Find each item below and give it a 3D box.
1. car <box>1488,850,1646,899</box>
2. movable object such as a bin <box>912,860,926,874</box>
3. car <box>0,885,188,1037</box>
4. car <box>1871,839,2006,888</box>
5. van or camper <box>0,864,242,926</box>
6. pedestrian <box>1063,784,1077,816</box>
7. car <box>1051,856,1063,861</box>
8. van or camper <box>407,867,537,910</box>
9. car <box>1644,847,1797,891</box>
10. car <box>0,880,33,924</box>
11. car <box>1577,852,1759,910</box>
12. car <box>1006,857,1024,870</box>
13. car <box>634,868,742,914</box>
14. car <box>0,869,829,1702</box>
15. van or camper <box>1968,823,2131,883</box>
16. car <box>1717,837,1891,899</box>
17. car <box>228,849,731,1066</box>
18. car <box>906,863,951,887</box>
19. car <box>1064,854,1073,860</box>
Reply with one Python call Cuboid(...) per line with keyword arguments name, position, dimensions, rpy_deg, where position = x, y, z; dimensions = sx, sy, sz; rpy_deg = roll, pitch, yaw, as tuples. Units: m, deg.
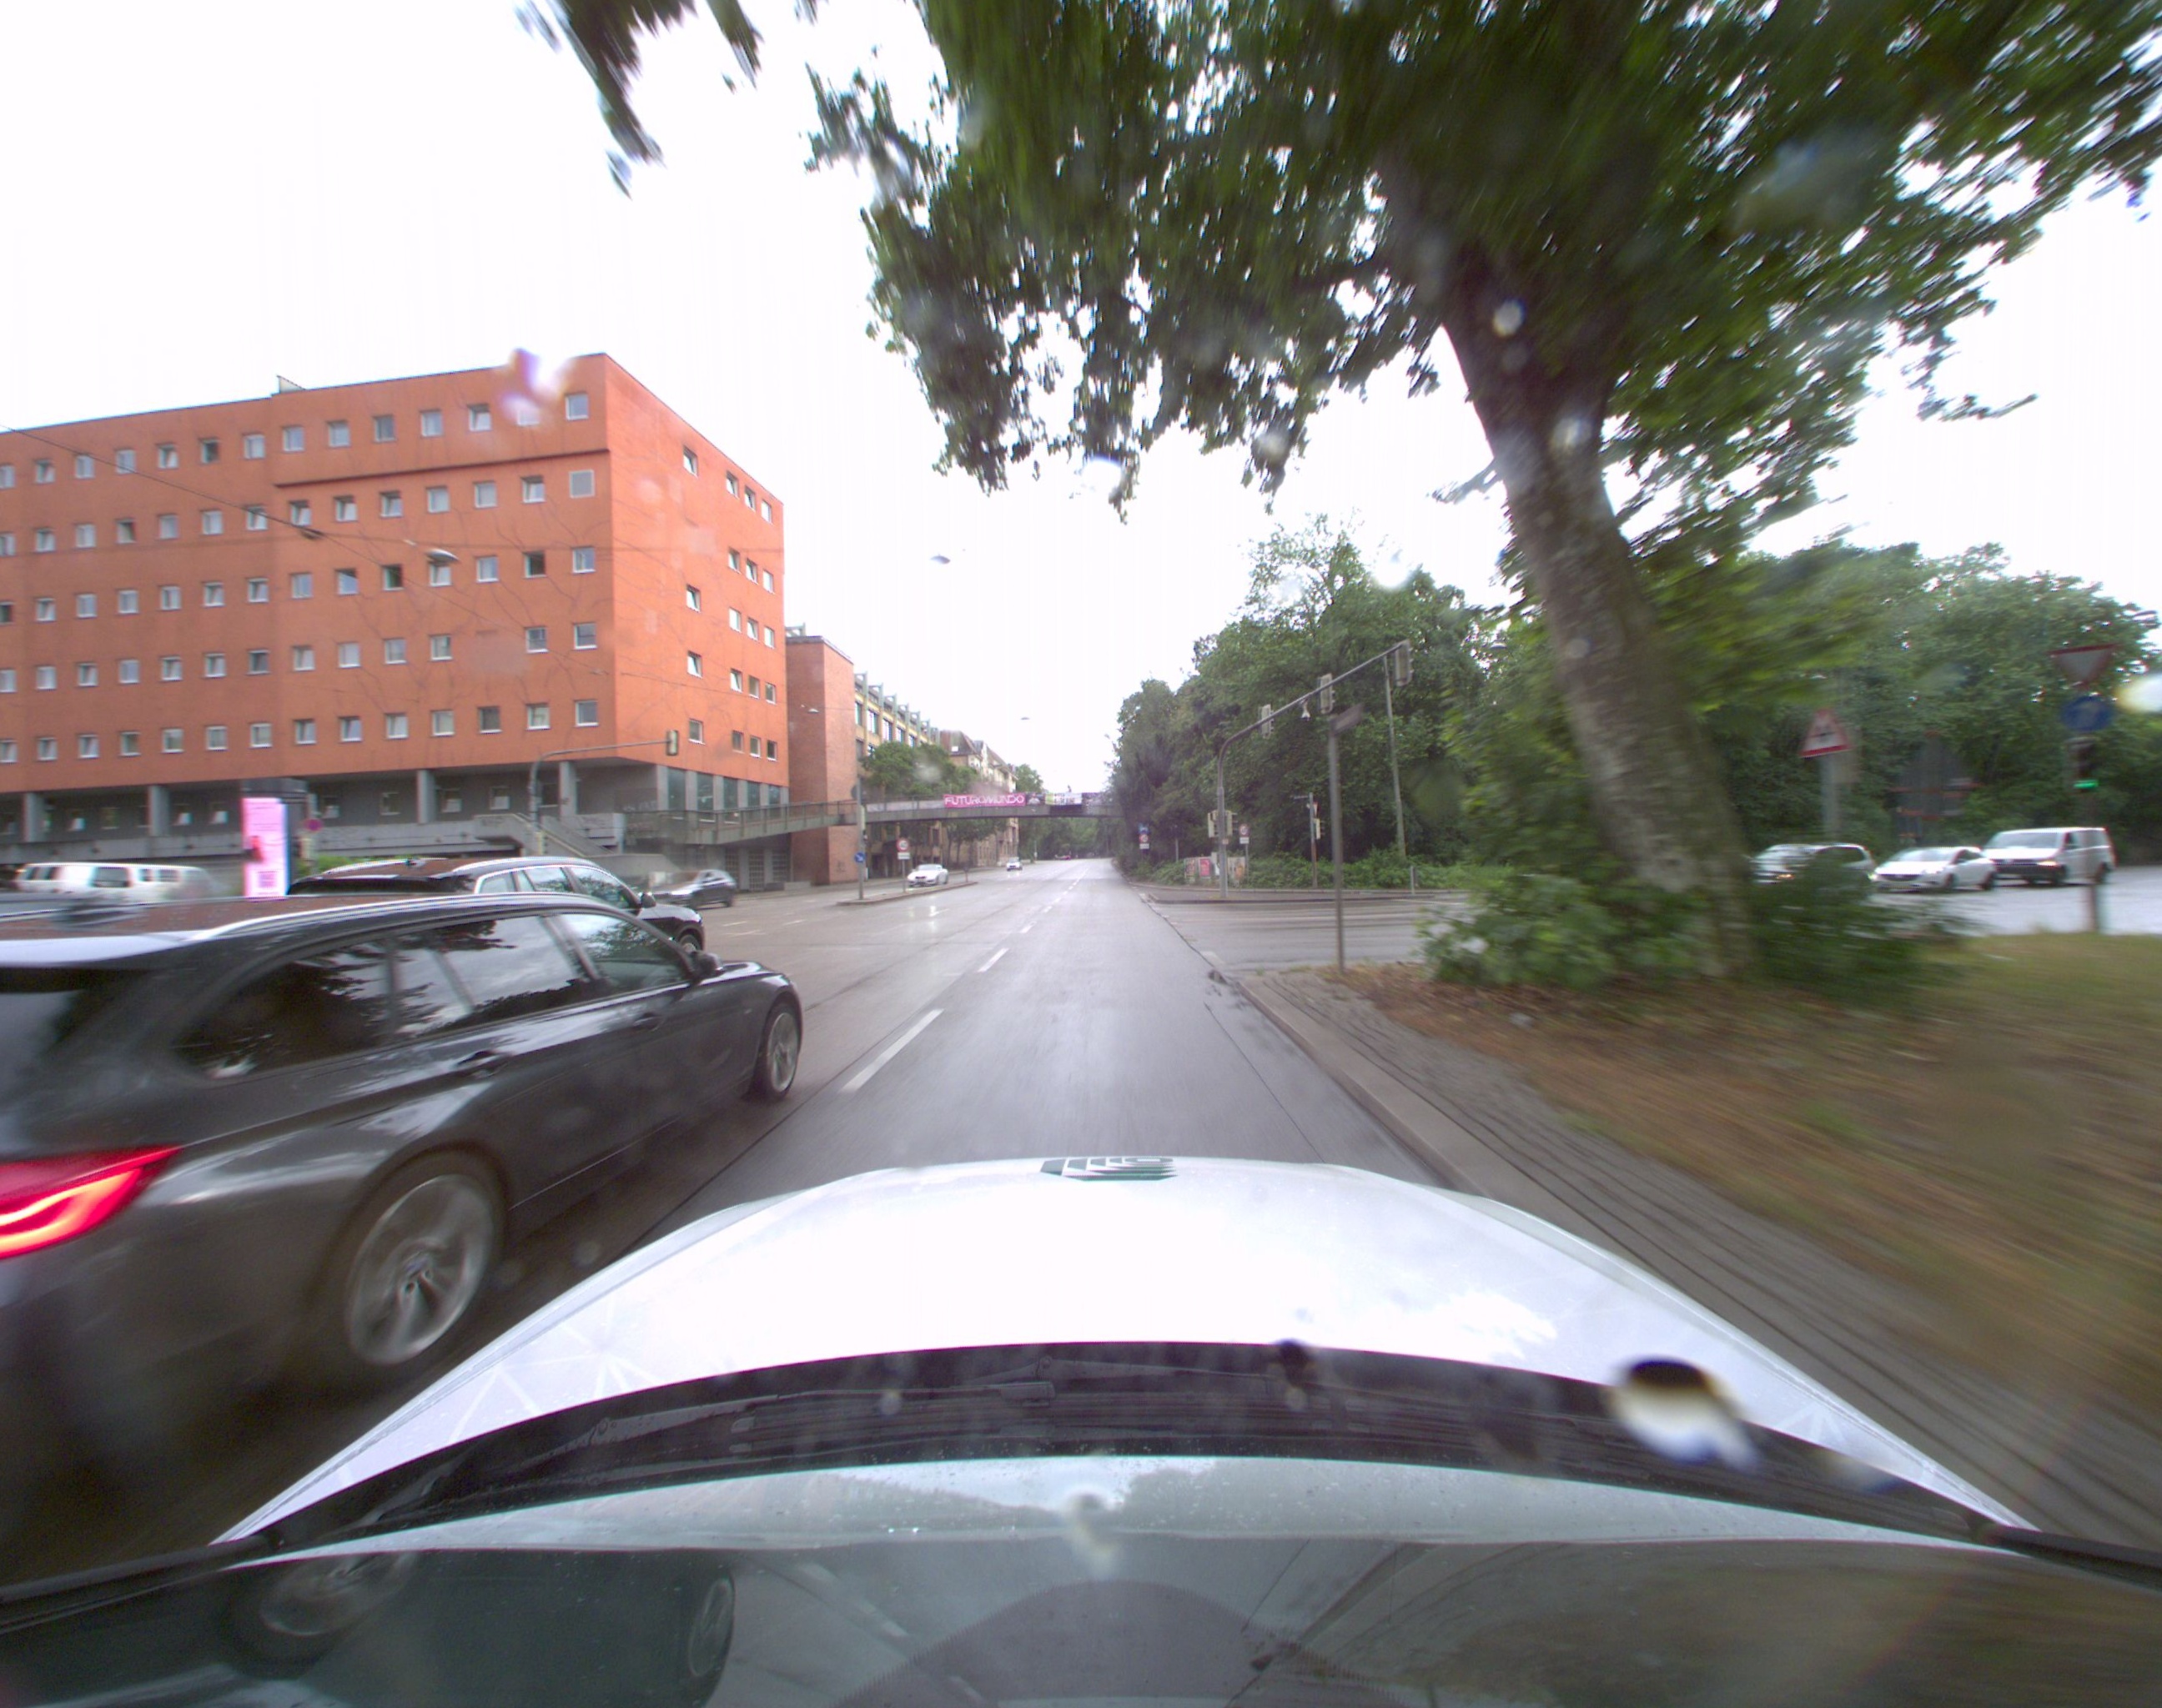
Cuboid(name="car", position=(15.353, 0.644, 25.782), dimensions=(4.207, 1.440, 1.940), rpy_deg=(1, -1, -16))
Cuboid(name="movable object such as a bin", position=(-18.465, 1.495, 92.704), dimensions=(1.277, 1.518, 1.273), rpy_deg=(-1, 0, 2))
Cuboid(name="car", position=(-11.440, 1.095, 7.679), dimensions=(1.676, 1.436, 3.864), rpy_deg=(-2, -1, 2))
Cuboid(name="car", position=(27.544, 0.317, 26.168), dimensions=(3.865, 1.461, 1.647), rpy_deg=(1, -1, -21))
Cuboid(name="van or camper", position=(-34.431, 1.389, 29.435), dimensions=(2.114, 1.977, 5.463), rpy_deg=(1, -1, 7))
Cuboid(name="pedestrian", position=(-0.834, -4.132, 62.127), dimensions=(0.952, 2.345, 1.005), rpy_deg=(1, -1, -5))
Cuboid(name="car", position=(-7.603, 1.297, 258.647), dimensions=(3.572, 1.547, 1.615), rpy_deg=(1, -1, 3))
Cuboid(name="van or camper", position=(-24.814, 1.386, 33.262), dimensions=(3.966, 1.627, 1.918), rpy_deg=(-1, 0, 6))
Cuboid(name="car", position=(21.480, 0.510, 27.388), dimensions=(4.441, 1.402, 1.820), rpy_deg=(1, -1, -16))
Cuboid(name="car", position=(-41.893, 1.812, 29.732), dimensions=(1.700, 1.612, 4.095), rpy_deg=(1, -1, 8))
Cuboid(name="car", position=(15.860, 0.729, 22.043), dimensions=(4.194, 1.460, 1.783), rpy_deg=(1, -1, -16))
Cuboid(name="car", position=(-7.655, 1.115, 94.963), dimensions=(1.594, 1.499, 3.713), rpy_deg=(-3, -1, 2))
Cuboid(name="car", position=(-14.014, 1.268, 29.343), dimensions=(1.701, 1.464, 4.045), rpy_deg=(-2, -1, 3))
Cuboid(name="car", position=(-2.783, 0.846, 3.592), dimensions=(1.770, 1.458, 4.479), rpy_deg=(-2, 0, 2))
Cuboid(name="van or camper", position=(33.466, -0.032, 28.155), dimensions=(4.861, 1.947, 1.896), rpy_deg=(0, -1, -17))
Cuboid(name="car", position=(21.276, 0.422, 23.997), dimensions=(4.205, 1.680, 1.897), rpy_deg=(1, -1, -16))
Cuboid(name="car", position=(-5.639, 0.820, 8.557), dimensions=(1.802, 1.656, 4.447), rpy_deg=(1, -1, 2))
Cuboid(name="car", position=(-9.513, 1.283, 51.240), dimensions=(1.823, 1.393, 4.406), rpy_deg=(-3, -1, 2))
Cuboid(name="car", position=(-3.793, 0.853, 237.366), dimensions=(2.004, 1.643, 4.362), rpy_deg=(-1, 0, -9))
